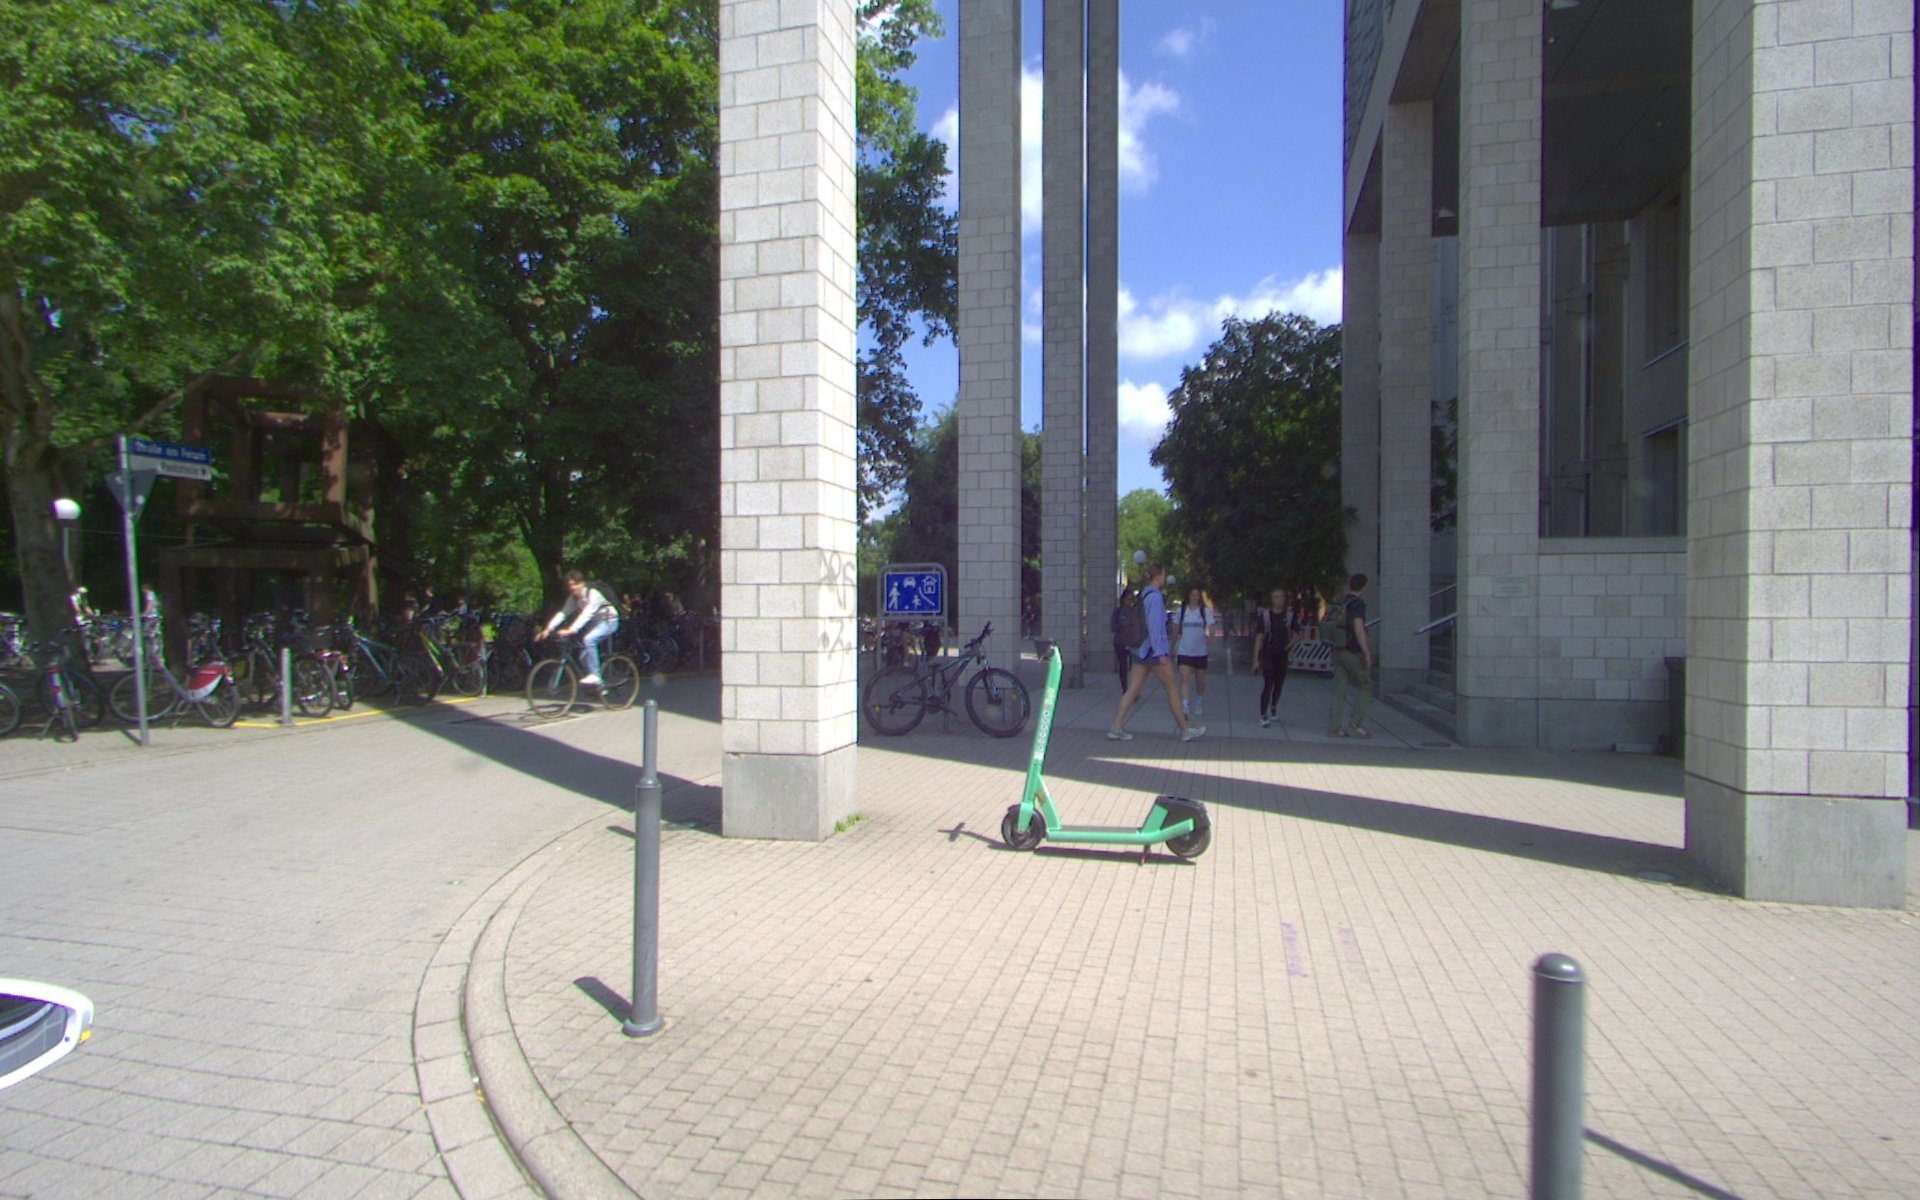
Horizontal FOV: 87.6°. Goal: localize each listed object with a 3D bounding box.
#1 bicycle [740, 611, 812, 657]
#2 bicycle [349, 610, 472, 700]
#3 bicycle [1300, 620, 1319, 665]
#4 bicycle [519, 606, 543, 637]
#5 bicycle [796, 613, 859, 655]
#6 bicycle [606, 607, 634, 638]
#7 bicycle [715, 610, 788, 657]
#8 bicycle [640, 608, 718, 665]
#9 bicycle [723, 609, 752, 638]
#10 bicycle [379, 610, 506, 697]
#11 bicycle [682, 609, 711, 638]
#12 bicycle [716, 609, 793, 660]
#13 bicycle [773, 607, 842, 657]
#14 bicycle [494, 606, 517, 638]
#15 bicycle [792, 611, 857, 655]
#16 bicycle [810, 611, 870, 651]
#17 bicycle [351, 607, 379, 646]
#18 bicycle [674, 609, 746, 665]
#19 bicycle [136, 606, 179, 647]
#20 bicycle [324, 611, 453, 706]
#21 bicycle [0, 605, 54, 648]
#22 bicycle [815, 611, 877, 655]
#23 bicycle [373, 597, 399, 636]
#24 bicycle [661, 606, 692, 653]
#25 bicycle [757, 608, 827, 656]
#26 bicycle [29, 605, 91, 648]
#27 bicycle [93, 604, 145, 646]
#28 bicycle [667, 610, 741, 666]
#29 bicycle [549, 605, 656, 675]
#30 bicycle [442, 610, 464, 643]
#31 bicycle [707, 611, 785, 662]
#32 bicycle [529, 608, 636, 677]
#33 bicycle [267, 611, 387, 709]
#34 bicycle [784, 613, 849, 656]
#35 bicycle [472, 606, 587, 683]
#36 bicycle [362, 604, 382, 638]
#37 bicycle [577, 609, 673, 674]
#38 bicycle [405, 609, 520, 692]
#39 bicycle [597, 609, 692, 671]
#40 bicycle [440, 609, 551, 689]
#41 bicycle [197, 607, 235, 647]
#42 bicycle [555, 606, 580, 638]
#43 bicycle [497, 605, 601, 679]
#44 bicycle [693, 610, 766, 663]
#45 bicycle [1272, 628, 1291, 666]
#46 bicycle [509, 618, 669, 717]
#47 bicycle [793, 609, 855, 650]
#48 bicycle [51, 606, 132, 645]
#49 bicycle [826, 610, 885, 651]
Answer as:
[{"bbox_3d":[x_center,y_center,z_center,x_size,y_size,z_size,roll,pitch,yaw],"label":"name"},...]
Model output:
[{"bbox_3d":[-4.665,0.861,25.402,1.707,1.122,0.497,1,0,3],"label":"bicycle"},{"bbox_3d":[-7.320,0.713,13.340,1.601,1.122,0.496,1,0,20],"label":"bicycle"},{"bbox_3d":[9.309,1.113,26.675,0.286,1.143,1.447,0,0,11],"label":"bicycle"},{"bbox_3d":[-15.848,0.792,36.985,0.510,1.125,1.767,1,0,-33],"label":"bicycle"},{"bbox_3d":[-3.690,0.954,27.944,1.666,1.122,0.474,1,0,4],"label":"bicycle"},{"bbox_3d":[-13.079,0.853,38.463,0.511,1.125,1.765,1,0,-36],"label":"bicycle"},{"bbox_3d":[-5.122,0.824,24.644,1.708,1.122,0.497,1,0,-9],"label":"bicycle"},{"bbox_3d":[-5.825,0.747,20.750,1.605,1.122,0.560,1,0,29],"label":"bicycle"},{"bbox_3d":[-9.173,0.961,41.276,0.468,1.125,1.765,1,0,-36],"label":"bicycle"},{"bbox_3d":[-7.178,0.717,13.884,1.601,1.122,0.628,1,0,20],"label":"bicycle"},{"bbox_3d":[-10.553,0.921,40.069,0.468,1.125,1.765,1,0,-36],"label":"bicycle"},{"bbox_3d":[-4.906,0.815,23.909,1.707,1.141,0.497,1,0,11],"label":"bicycle"},{"bbox_3d":[-4.044,0.841,26.527,1.707,1.252,0.497,1,0,8],"label":"bicycle"},{"bbox_3d":[-16.634,0.799,36.662,0.510,1.125,1.767,1,0,-33],"label":"bicycle"},{"bbox_3d":[-3.709,0.893,27.475,1.666,1.160,0.474,1,0,4],"label":"bicycle"},{"bbox_3d":[-3.565,0.911,29.779,1.666,1.122,0.566,1,0,4],"label":"bicycle"},{"bbox_3d":[-17.447,0.761,29.388,0.466,1.098,1.693,1,0,-24],"label":"bicycle"},{"bbox_3d":[-5.469,0.793,21.840,1.605,1.159,0.495,1,0,29],"label":"bicycle"},{"bbox_3d":[-22.060,0.722,27.551,0.466,1.098,1.693,1,0,-24],"label":"bicycle"},{"bbox_3d":[-7.275,0.720,12.736,1.601,1.122,0.496,1,0,20],"label":"bicycle"},{"bbox_3d":[-25.054,0.701,26.779,0.465,1.098,1.697,1,-1,-14],"label":"bicycle"},{"bbox_3d":[-3.274,0.945,28.836,1.667,1.214,0.536,1,0,7],"label":"bicycle"},{"bbox_3d":[-16.966,0.477,29.605,0.466,1.098,1.693,1,0,-24],"label":"bicycle"},{"bbox_3d":[-7.758,0.791,27.335,0.567,1.215,1.693,1,0,-24],"label":"bicycle"},{"bbox_3d":[-4.373,0.833,26.037,1.708,1.194,0.496,1,0,15],"label":"bicycle"},{"bbox_3d":[-24.041,0.697,26.773,0.465,1.098,1.697,1,-1,-14],"label":"bicycle"},{"bbox_3d":[-22.959,0.678,27.351,0.466,1.098,1.696,1,0,-18],"label":"bicycle"},{"bbox_3d":[-5.428,0.785,21.196,1.605,1.122,0.495,1,0,29],"label":"bicycle"},{"bbox_3d":[-6.360,0.699,17.830,1.751,1.177,0.497,1,0,10],"label":"bicycle"},{"bbox_3d":[-17.997,0.927,35.537,0.510,1.125,1.767,1,0,-33],"label":"bicycle"},{"bbox_3d":[-4.980,0.836,23.287,1.708,1.122,0.496,1,0,16],"label":"bicycle"},{"bbox_3d":[-6.476,0.716,17.204,1.599,1.122,0.645,1,0,10],"label":"bicycle"},{"bbox_3d":[-7.853,0.713,12.402,1.604,1.123,0.495,1,2,27],"label":"bicycle"},{"bbox_3d":[-3.860,0.928,26.972,1.666,1.122,0.497,1,0,5],"label":"bicycle"},{"bbox_3d":[-6.727,0.676,15.665,1.601,1.122,0.689,1,0,20],"label":"bicycle"},{"bbox_3d":[-20.064,0.718,34.167,0.510,1.125,1.767,1,0,-33],"label":"bicycle"},{"bbox_3d":[-6.115,0.746,18.276,1.599,1.122,0.497,1,0,10],"label":"bicycle"},{"bbox_3d":[-7.199,0.715,14.480,1.601,1.122,0.505,1,0,20],"label":"bicycle"},{"bbox_3d":[-6.065,0.746,19.257,1.699,1.122,0.717,1,0,26],"label":"bicycle"},{"bbox_3d":[-6.950,0.712,14.979,1.601,1.122,0.496,1,0,20],"label":"bicycle"},{"bbox_3d":[-20.889,0.739,28.125,0.466,1.098,1.693,1,0,-24],"label":"bicycle"},{"bbox_3d":[-14.675,0.812,37.386,0.510,1.125,1.767,1,0,-33],"label":"bicycle"},{"bbox_3d":[-6.767,0.679,16.488,1.600,1.166,0.496,1,0,16],"label":"bicycle"},{"bbox_3d":[-5.170,0.811,22.435,1.716,1.122,0.571,1,0,35],"label":"bicycle"},{"bbox_3d":[8.207,1.176,25.581,0.286,0.917,1.447,0,0,11],"label":"bicycle"},{"bbox_3d":[-4.600,0.802,12.509,0.632,1.123,1.806,2,1,38],"label":"bicycle"},{"bbox_3d":[-3.849,0.837,28.375,1.666,1.122,0.474,1,0,4],"label":"bicycle"},{"bbox_3d":[-25.231,0.734,29.114,1.670,1.098,0.603,2,0,-18],"label":"bicycle"},{"bbox_3d":[-3.151,0.914,30.236,1.666,1.203,0.474,1,0,4],"label":"bicycle"}]
